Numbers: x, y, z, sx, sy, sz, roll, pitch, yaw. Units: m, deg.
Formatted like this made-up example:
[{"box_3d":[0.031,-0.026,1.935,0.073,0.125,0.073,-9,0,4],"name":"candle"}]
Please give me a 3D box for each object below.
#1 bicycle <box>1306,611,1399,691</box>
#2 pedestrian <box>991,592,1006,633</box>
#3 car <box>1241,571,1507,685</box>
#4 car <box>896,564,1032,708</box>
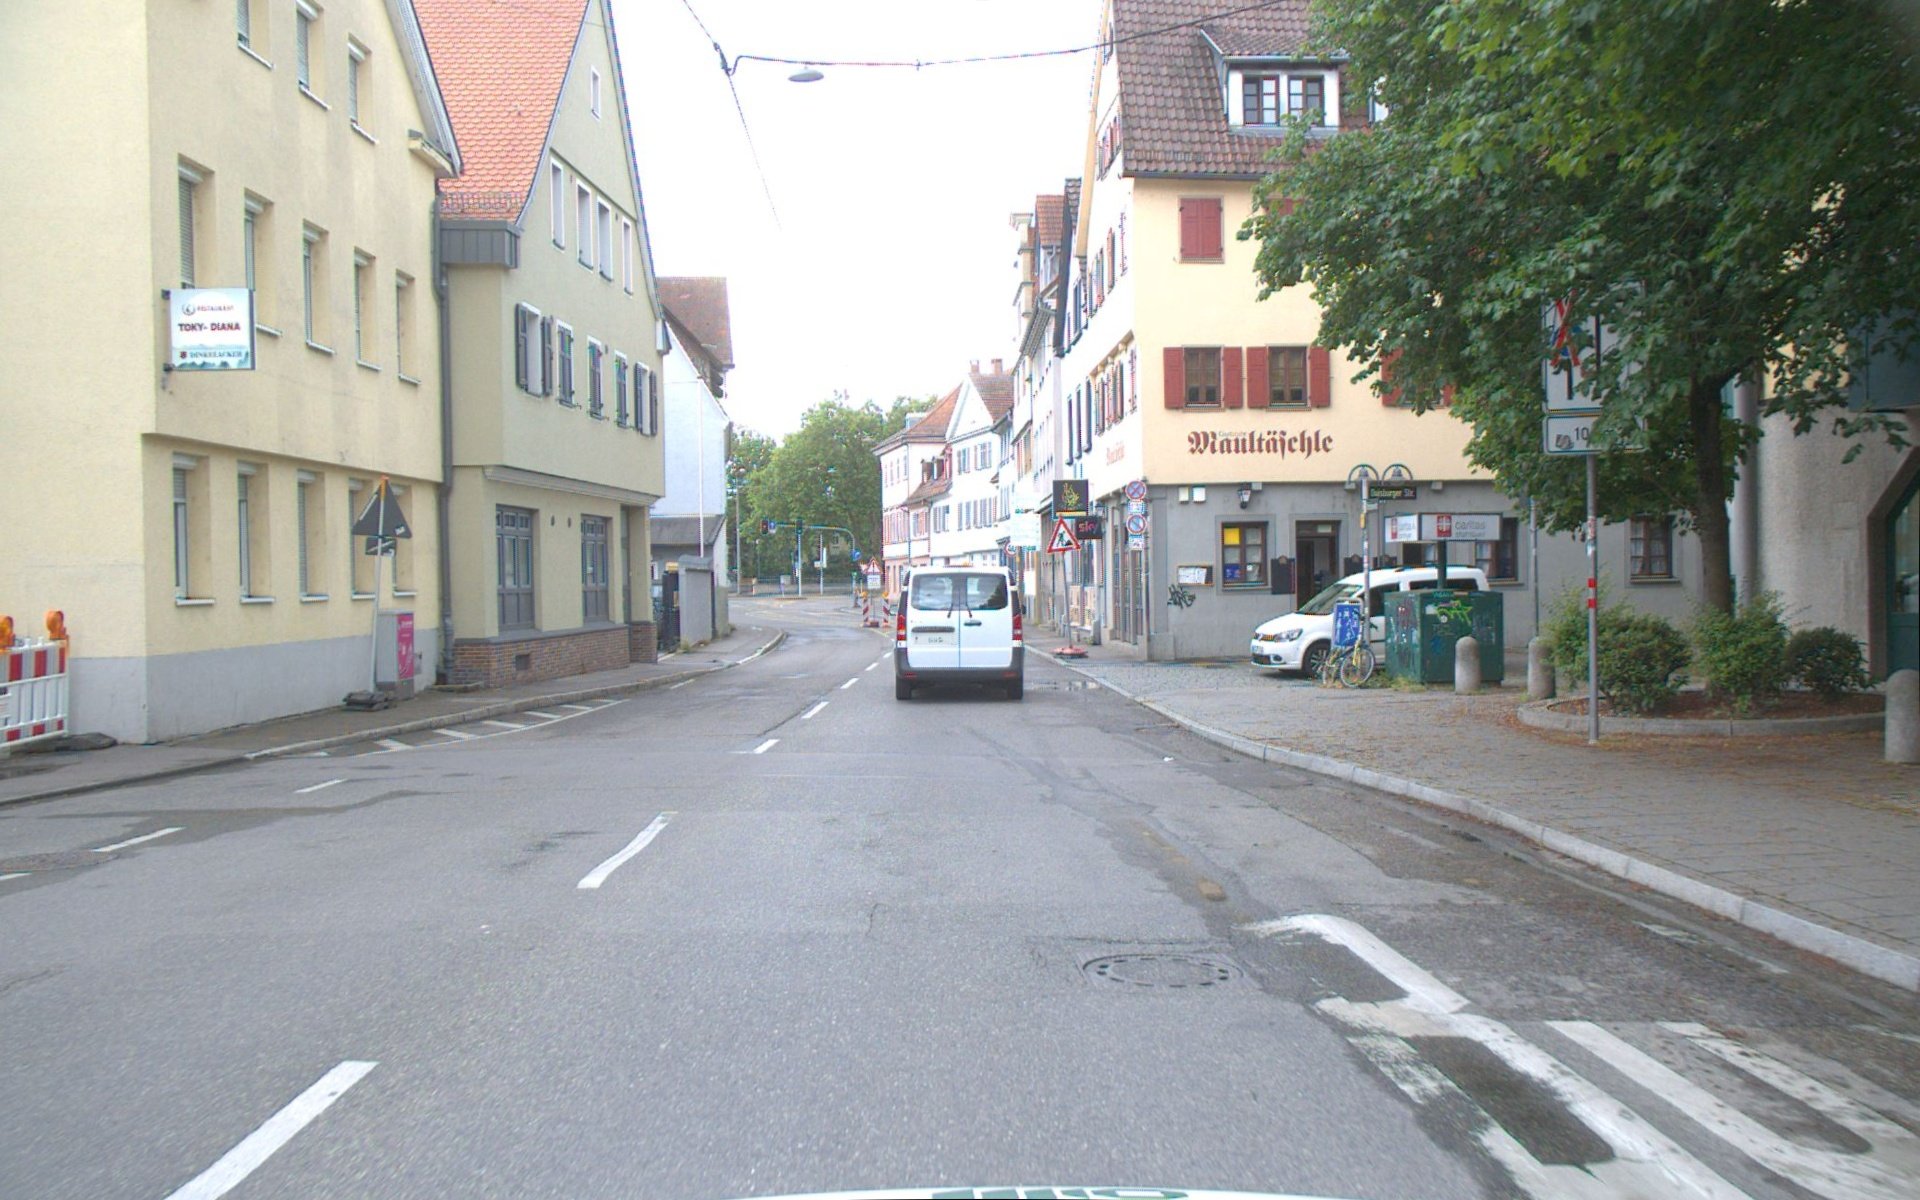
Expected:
[{"box_3d":[5.800,0.737,24.534,0.492,1.126,1.628,-1,0,-21],"name":"bicycle"},{"box_3d":[1.692,0.539,72.822,0.630,1.777,0.562,0,-1,-5],"name":"pedestrian"},{"box_3d":[7.250,0.449,29.129,4.163,1.828,1.844,-1,2,-9],"name":"car"},{"box_3d":[0.072,0.489,24.781,1.834,1.945,4.000,-1,0,0],"name":"car"}]
